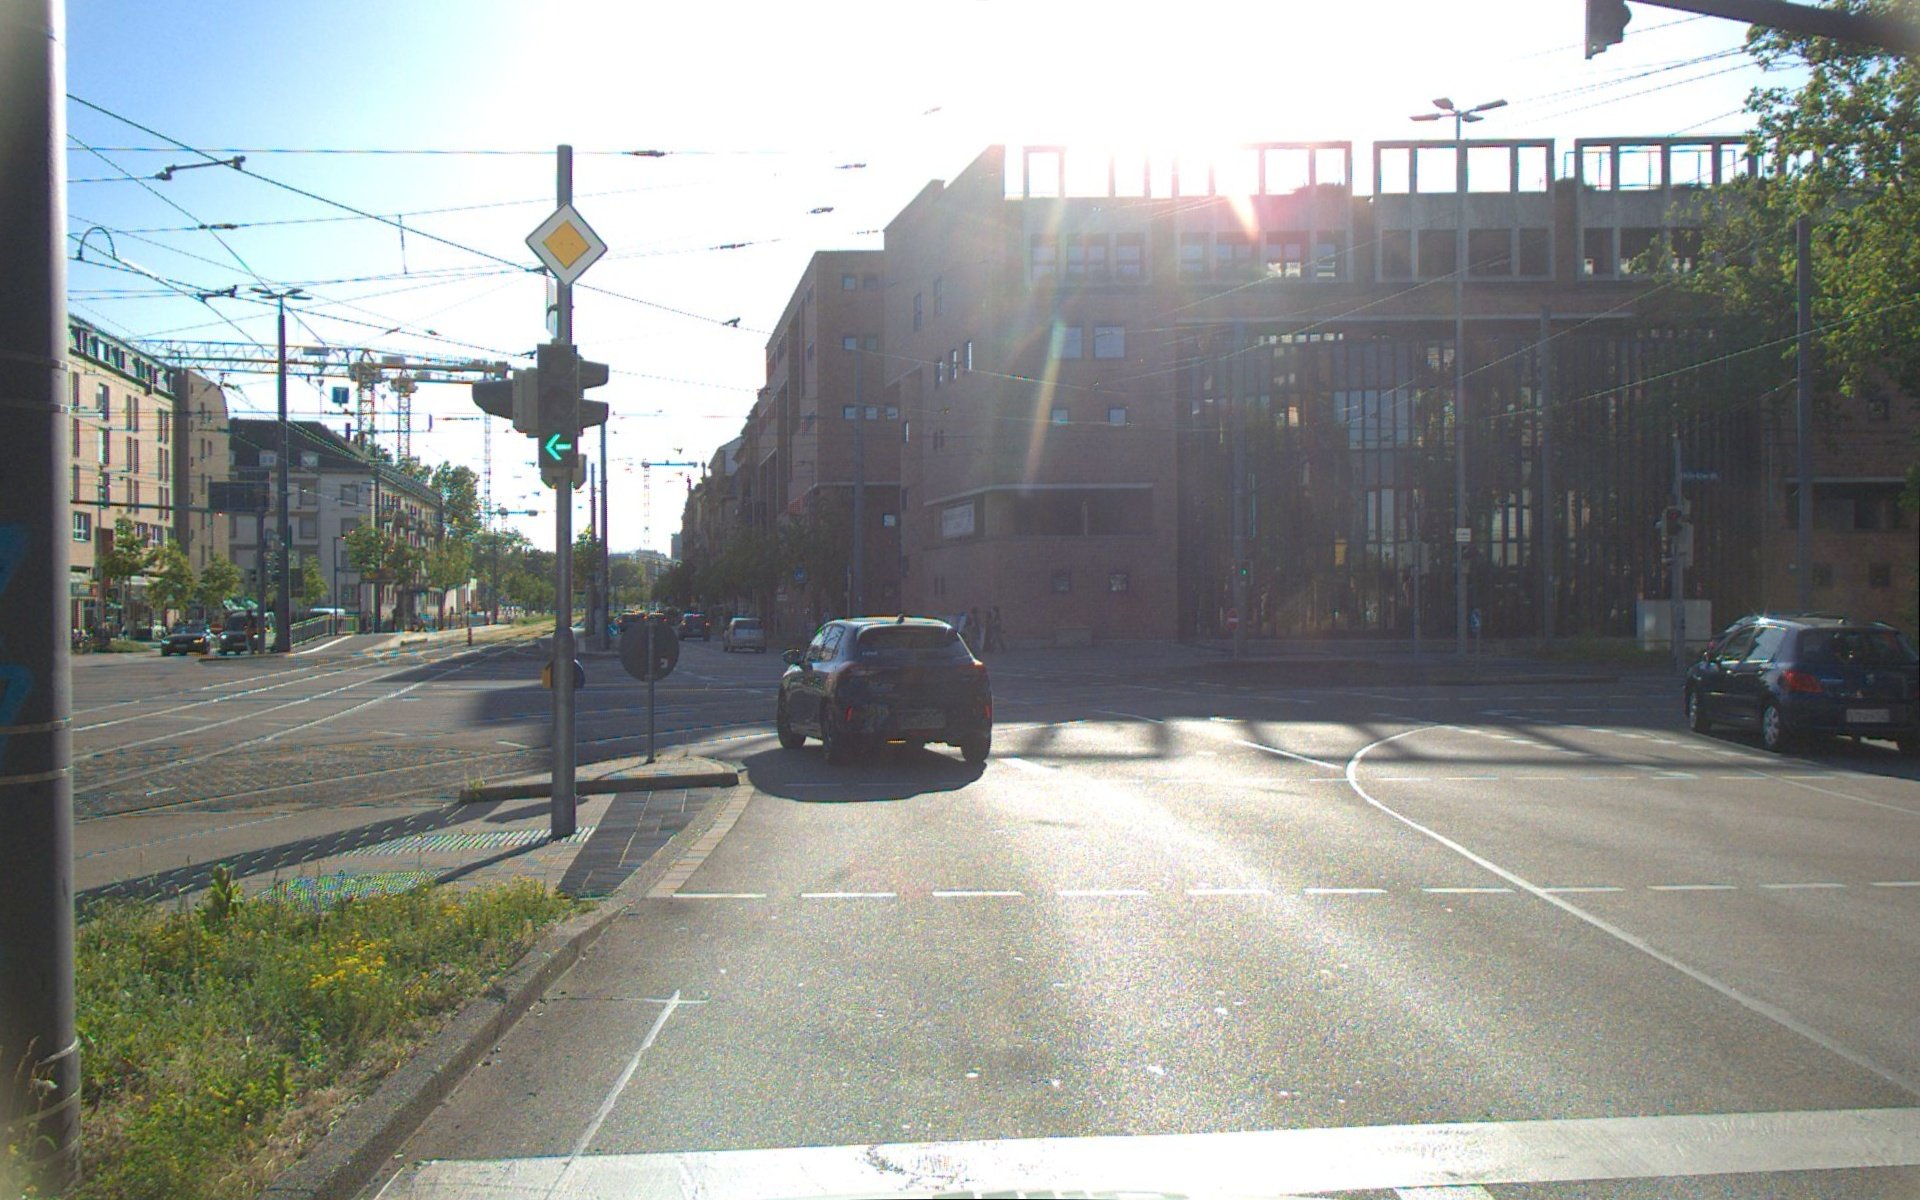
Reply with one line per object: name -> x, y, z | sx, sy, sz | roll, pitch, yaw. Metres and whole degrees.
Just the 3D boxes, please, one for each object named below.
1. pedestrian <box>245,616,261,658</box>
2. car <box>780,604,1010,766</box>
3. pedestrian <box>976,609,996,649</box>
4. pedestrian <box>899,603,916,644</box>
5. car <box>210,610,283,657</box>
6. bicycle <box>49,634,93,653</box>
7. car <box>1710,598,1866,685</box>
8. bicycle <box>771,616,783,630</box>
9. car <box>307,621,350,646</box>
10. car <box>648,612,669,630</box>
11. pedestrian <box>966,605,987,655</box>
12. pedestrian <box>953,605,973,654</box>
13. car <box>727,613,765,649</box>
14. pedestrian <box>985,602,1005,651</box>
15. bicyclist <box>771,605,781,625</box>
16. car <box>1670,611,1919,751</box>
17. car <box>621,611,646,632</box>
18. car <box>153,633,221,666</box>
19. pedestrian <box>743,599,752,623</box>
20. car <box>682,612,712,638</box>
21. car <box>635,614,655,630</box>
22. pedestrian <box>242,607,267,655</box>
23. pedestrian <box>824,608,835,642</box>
pedestrian -> -27.278, 1.412, 63.811 | 0.573, 1.604, 0.642 | 0, -1, -25
car -> -0.803, 0.824, 17.737 | 1.645, 1.528, 3.674 | 1, 0, -16
pedestrian -> 0.977, 1.112, 63.108 | 0.541, 1.503, 0.568 | -1, 0, -29
pedestrian -> -2.363, 1.046, 74.599 | 0.628, 1.817, 0.687 | -1, 0, -9
car -> -30.517, 1.422, 70.836 | 1.805, 1.868, 4.099 | -2, 0, -8
bicycle -> -46.080, 2.237, 85.750 | 1.992, 0.937, 0.483 | -1, 0, -1
car -> 14.968, 0.723, 29.814 | 1.669, 1.465, 3.998 | -1, -1, 40
bicycle -> -12.355, 1.517, 111.557 | 0.636, 0.920, 2.340 | 0, 0, -10
car -> -39.420, 2.069, 103.291 | 1.807, 1.473, 4.284 | -2, 0, -13
car -> -25.527, 1.767, 139.966 | 1.690, 1.479, 3.687 | -1, 0, -11
pedestrian -> 0.602, 1.115, 60.782 | 0.563, 1.817, 0.546 | -1, 0, -19
pedestrian -> 0.114, 1.096, 61.351 | 0.563, 1.817, 0.546 | -1, 0, -19
car -> -9.288, 1.339, 71.717 | 1.531, 1.481, 3.424 | 0, 0, -9
pedestrian -> 1.316, 0.995, 62.313 | 0.563, 1.817, 0.546 | -1, 0, -19
bicyclist -> -12.384, 1.026, 111.546 | 0.634, 1.363, 0.651 | 0, -1, -10
car -> 10.232, 0.901, 20.068 | 1.822, 1.500, 3.980 | 0, 0, 5
car -> -23.483, 1.520, 118.918 | 1.690, 1.479, 3.687 | -1, 0, -11
car -> -34.114, 2.167, 73.112 | 1.807, 1.290, 4.215 | -2, 0, -13
pedestrian -> -16.653, 0.859, 129.754 | 0.628, 1.817, 0.687 | -1, 0, -9
car -> -15.887, 1.477, 99.884 | 1.641, 1.479, 3.687 | -1, 0, -11
car -> -28.881, 2.009, 151.578 | 1.690, 1.479, 3.687 | -1, 0, -11
pedestrian -> -26.383, 1.153, 61.852 | 0.708, 1.757, 0.593 | -1, 0, -10
pedestrian -> -7.093, 1.342, 89.875 | 0.537, 1.817, 0.572 | 0, 2, -9
